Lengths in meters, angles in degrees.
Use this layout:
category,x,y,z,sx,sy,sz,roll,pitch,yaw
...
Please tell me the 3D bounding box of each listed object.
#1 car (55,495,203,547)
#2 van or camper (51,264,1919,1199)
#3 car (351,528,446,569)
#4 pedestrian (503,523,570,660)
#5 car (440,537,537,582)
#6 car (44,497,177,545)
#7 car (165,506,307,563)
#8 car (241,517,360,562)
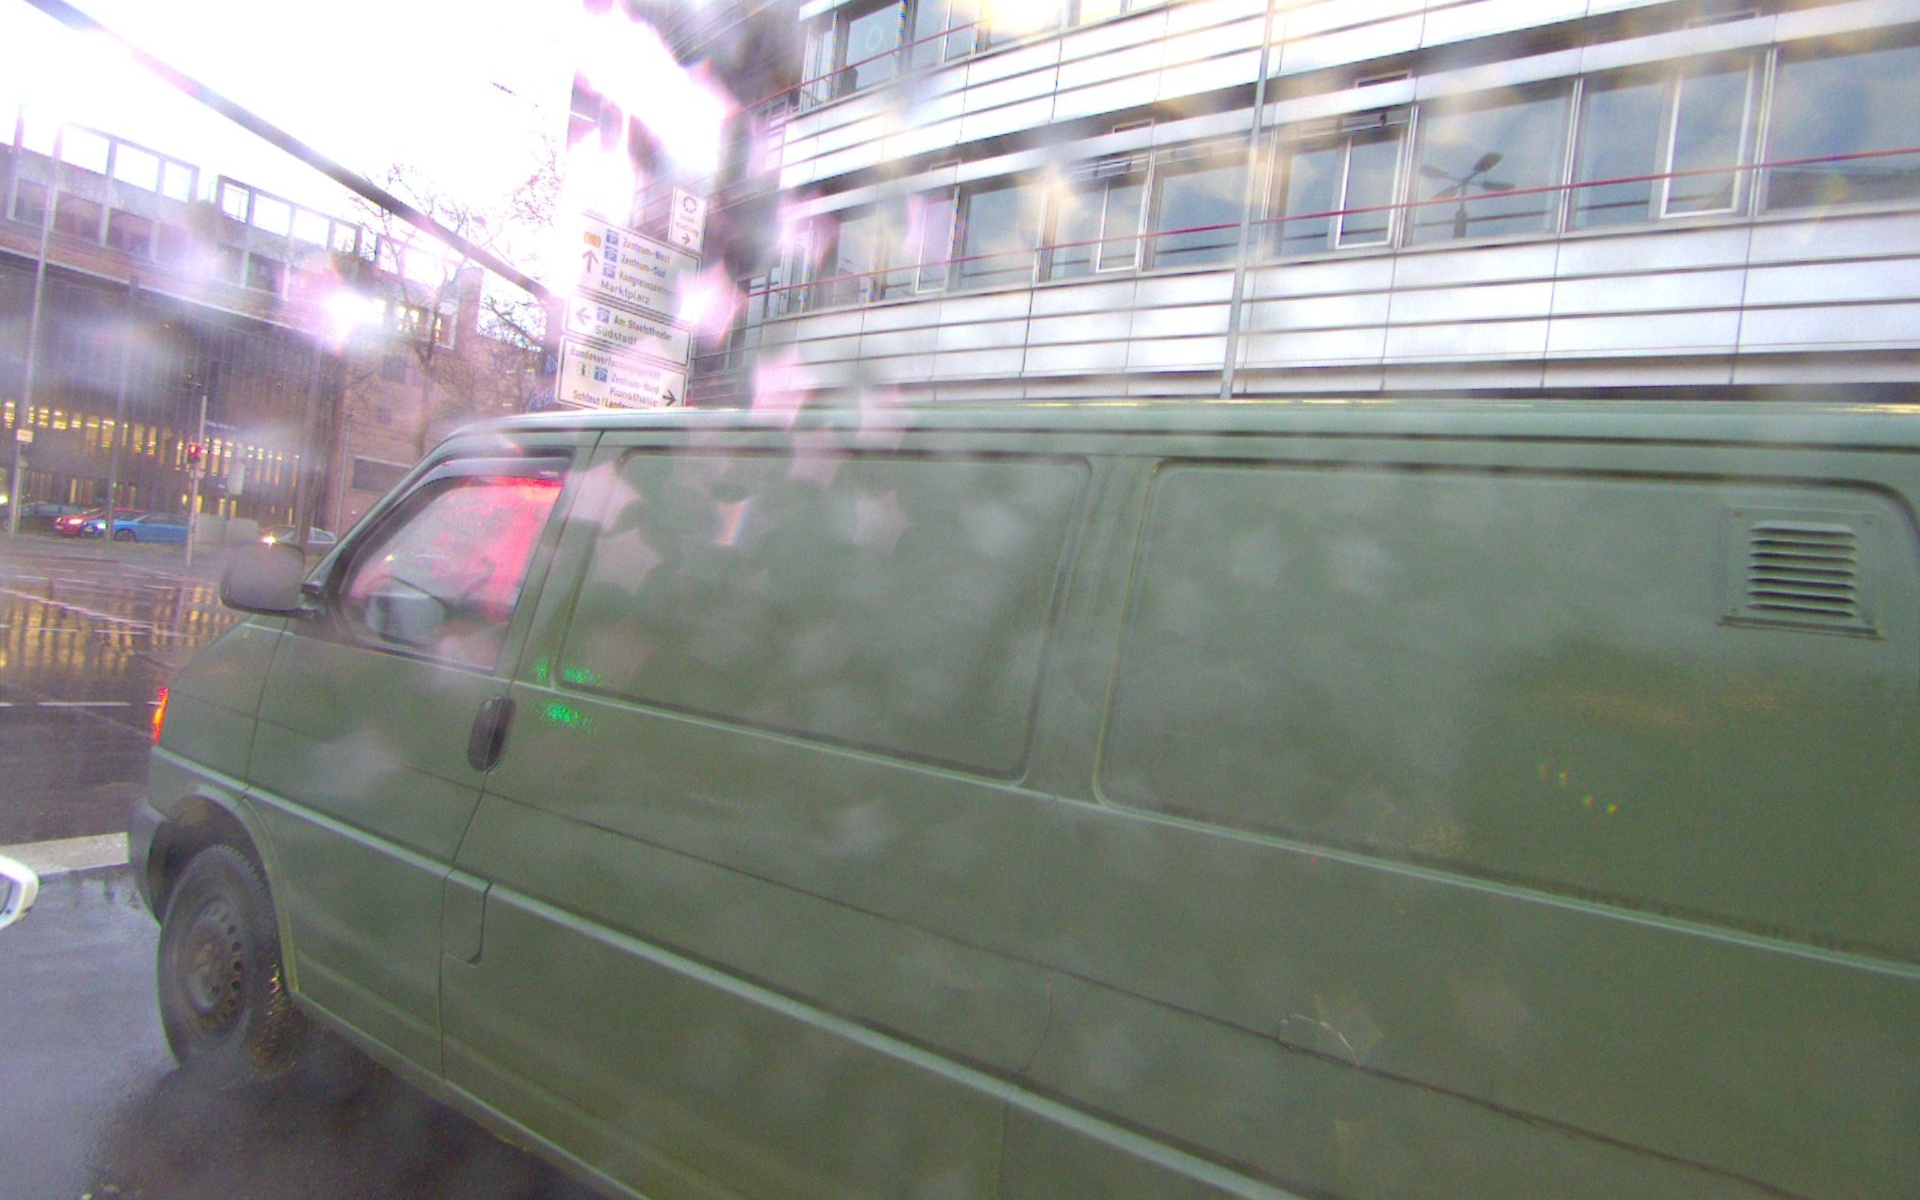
category,x,y,z,sx,sy,sz,roll,pitch,yaw
car,-32.438,-3.048,39.393,1.814,1.278,3.996,11,1,26
van or camper,-0.332,0.550,2.637,4.345,1.929,1.760,7,-1,32
car,-30.165,-2.726,54.140,1.814,1.523,3.996,11,1,26
pedestrian,-7.113,-0.134,16.914,0.609,2.210,0.576,6,0,26
car,-23.560,-2.006,50.417,1.814,1.621,3.996,11,2,26
car,-35.481,-3.266,42.110,1.814,1.278,3.729,11,1,26
car,-28.302,-2.524,39.451,1.814,1.523,3.996,11,1,26
car,-29.634,-2.679,45.314,1.814,1.304,3.996,11,1,26
